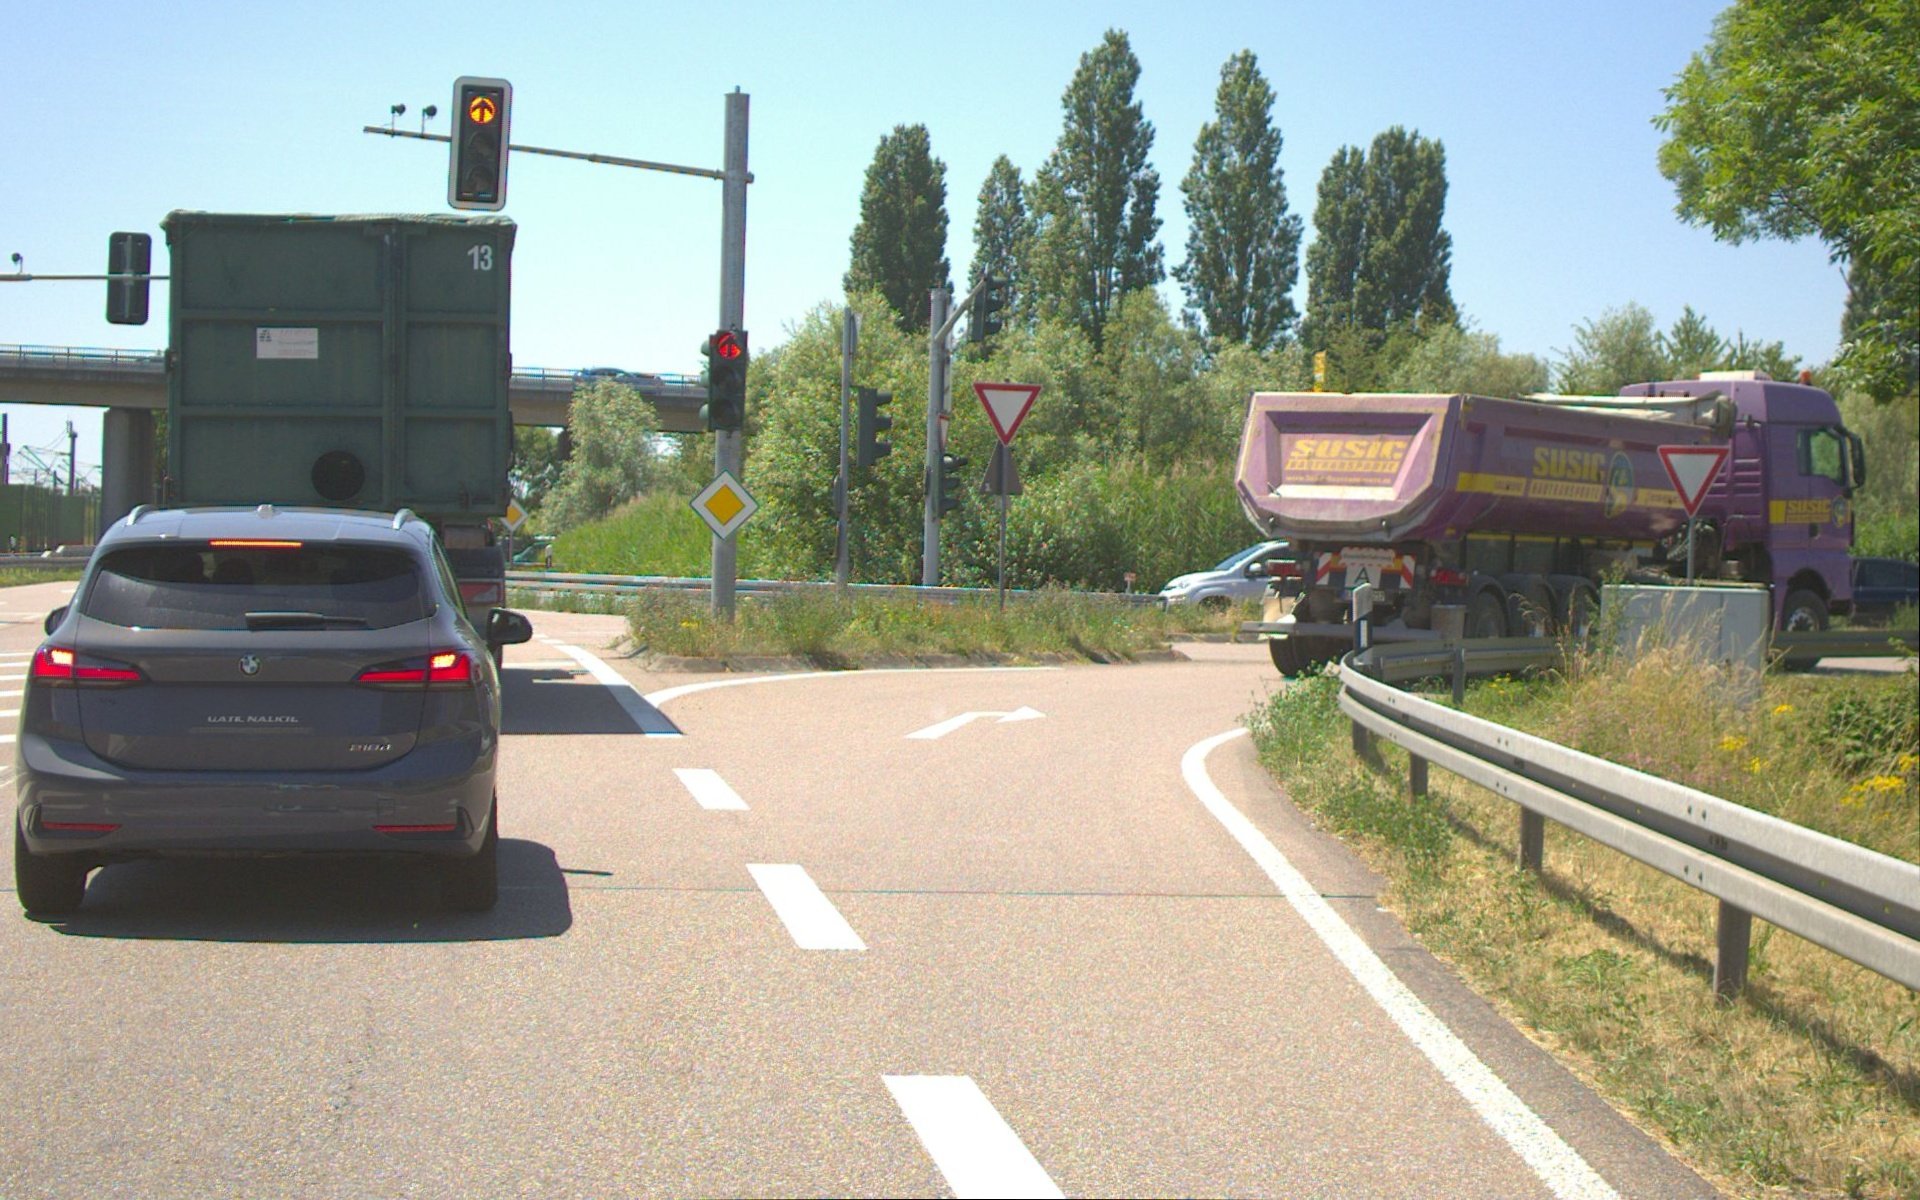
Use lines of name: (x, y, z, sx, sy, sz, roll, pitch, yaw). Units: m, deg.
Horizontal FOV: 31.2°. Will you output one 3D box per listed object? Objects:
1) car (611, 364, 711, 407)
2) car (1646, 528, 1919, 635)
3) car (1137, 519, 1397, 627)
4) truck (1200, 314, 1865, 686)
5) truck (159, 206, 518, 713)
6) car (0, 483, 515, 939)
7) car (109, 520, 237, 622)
car: (-15.326, -10.961, 175.945, 4.959, 2.007, 2.001, 0, 1, -9)
car: (13.550, -0.295, 54.356, 4.924, 1.626, 1.934, 1, 1, -7)
car: (4.767, -0.431, 53.550, 3.705, 1.626, 1.735, 0, 1, -9)
truck: (7.184, -1.109, 40.821, 2.839, 3.808, 11.861, 1, 1, 35)
truck: (-5.292, -1.168, 30.256, 2.589, 3.724, 9.578, 0, 2, -8)
car: (-2.836, 0.356, 14.401, 1.844, 1.617, 4.227, 0, 1, -8)
car: (-14.741, -0.574, 64.576, 1.927, 1.761, 4.599, 2, 2, -8)
